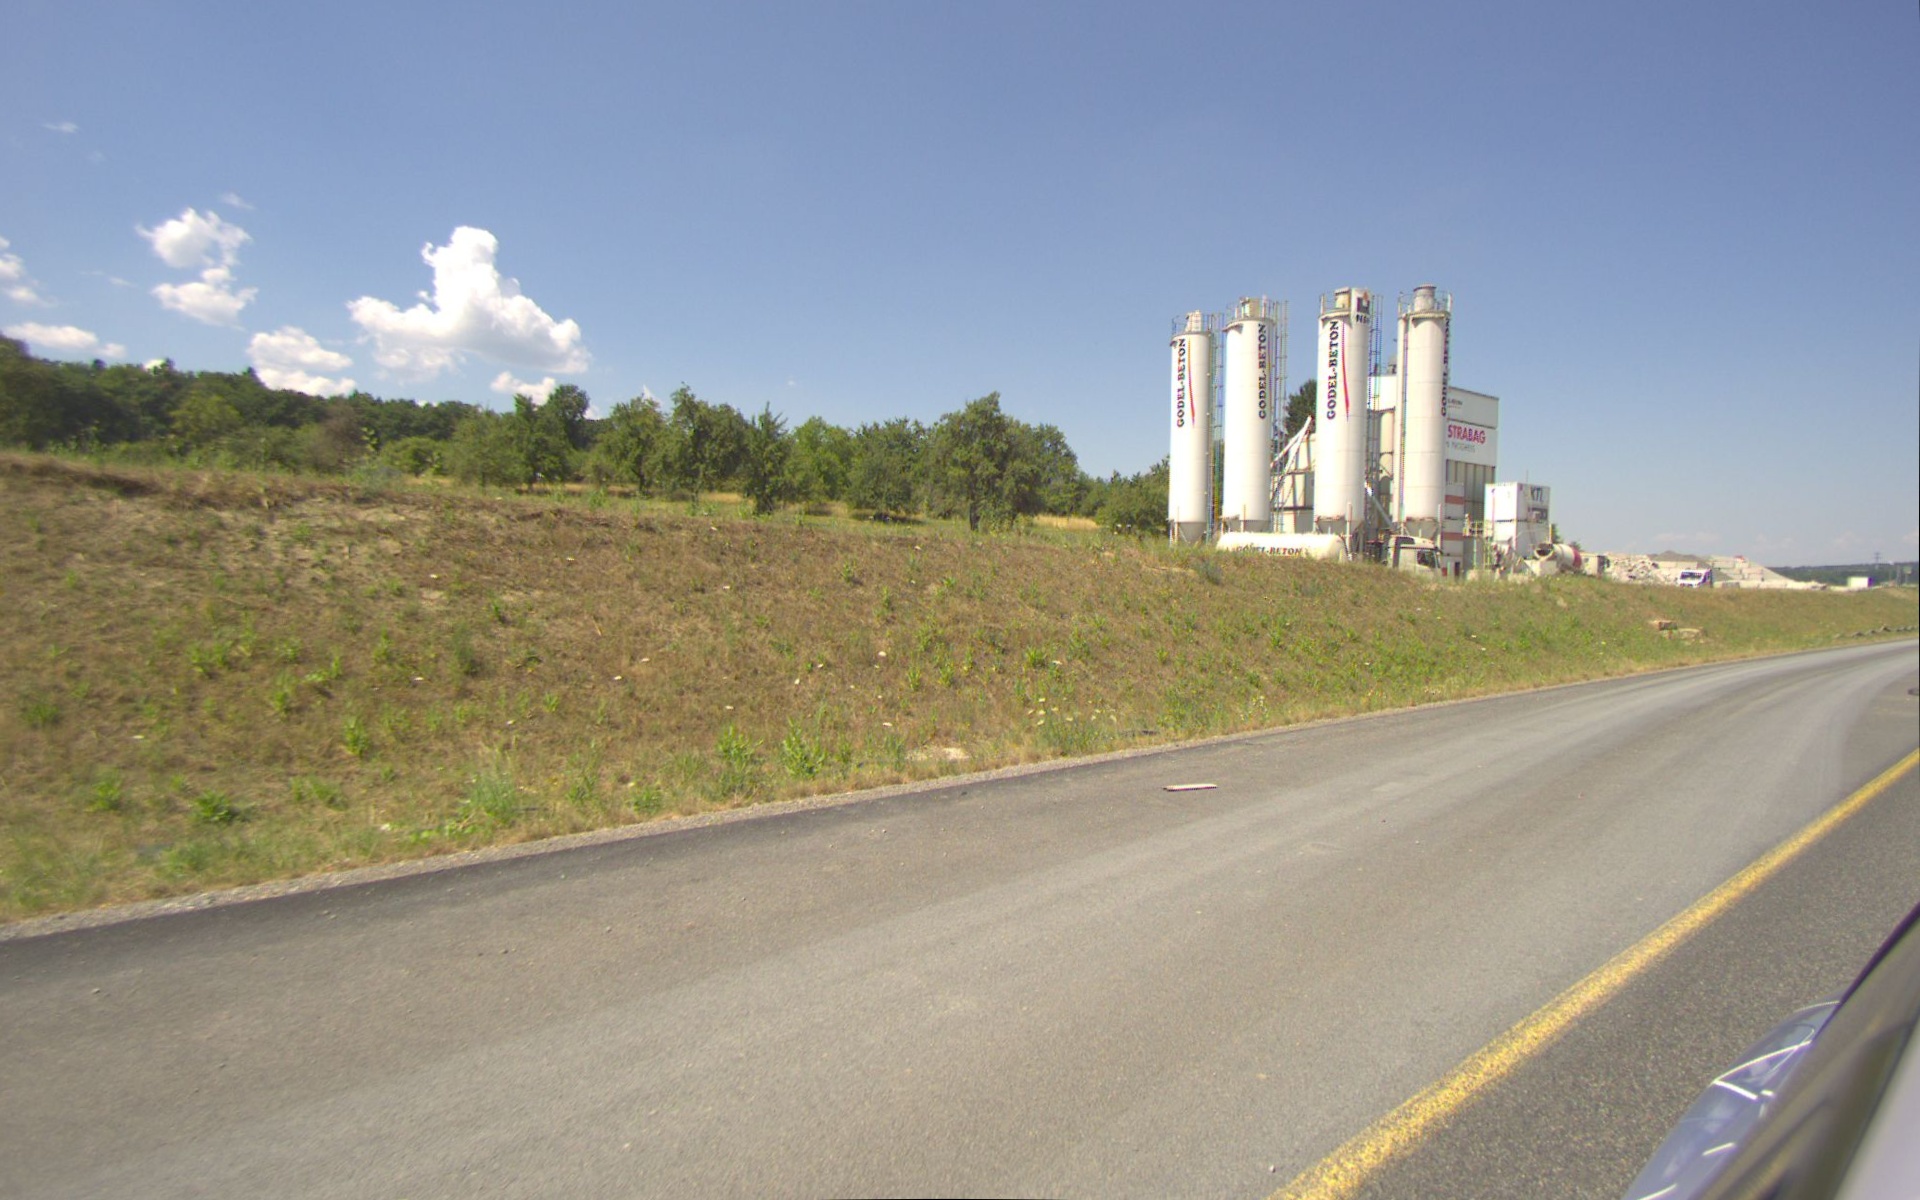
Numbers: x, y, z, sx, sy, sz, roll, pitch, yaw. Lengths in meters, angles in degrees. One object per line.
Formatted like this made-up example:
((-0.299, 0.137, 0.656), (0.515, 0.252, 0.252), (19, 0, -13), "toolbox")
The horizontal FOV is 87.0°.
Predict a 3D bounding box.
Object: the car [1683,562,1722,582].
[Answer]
((65.754, -2.458, 89.599), (3.539, 1.785, 1.989), (0, 0, -41), "car")

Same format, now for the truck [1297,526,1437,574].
((27.471, -3.301, 68.848), (2.412, 2.904, 9.104), (0, 0, -34), "truck")

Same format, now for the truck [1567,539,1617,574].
((48.778, -3.318, 78.100), (3.966, 2.577, 2.022), (0, 0, -37), "truck")

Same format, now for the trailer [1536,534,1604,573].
((45.804, -3.421, 75.881), (6.808, 2.678, 1.999), (0, 0, -37), "trailer")

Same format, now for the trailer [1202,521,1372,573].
((17.961, -2.851, 56.200), (2.423, 2.639, 8.905), (0, 1, -43), "trailer")

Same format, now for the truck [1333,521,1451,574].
((22.569, -2.702, 53.135), (5.229, 2.576, 2.893), (0, 0, 14), "truck")
